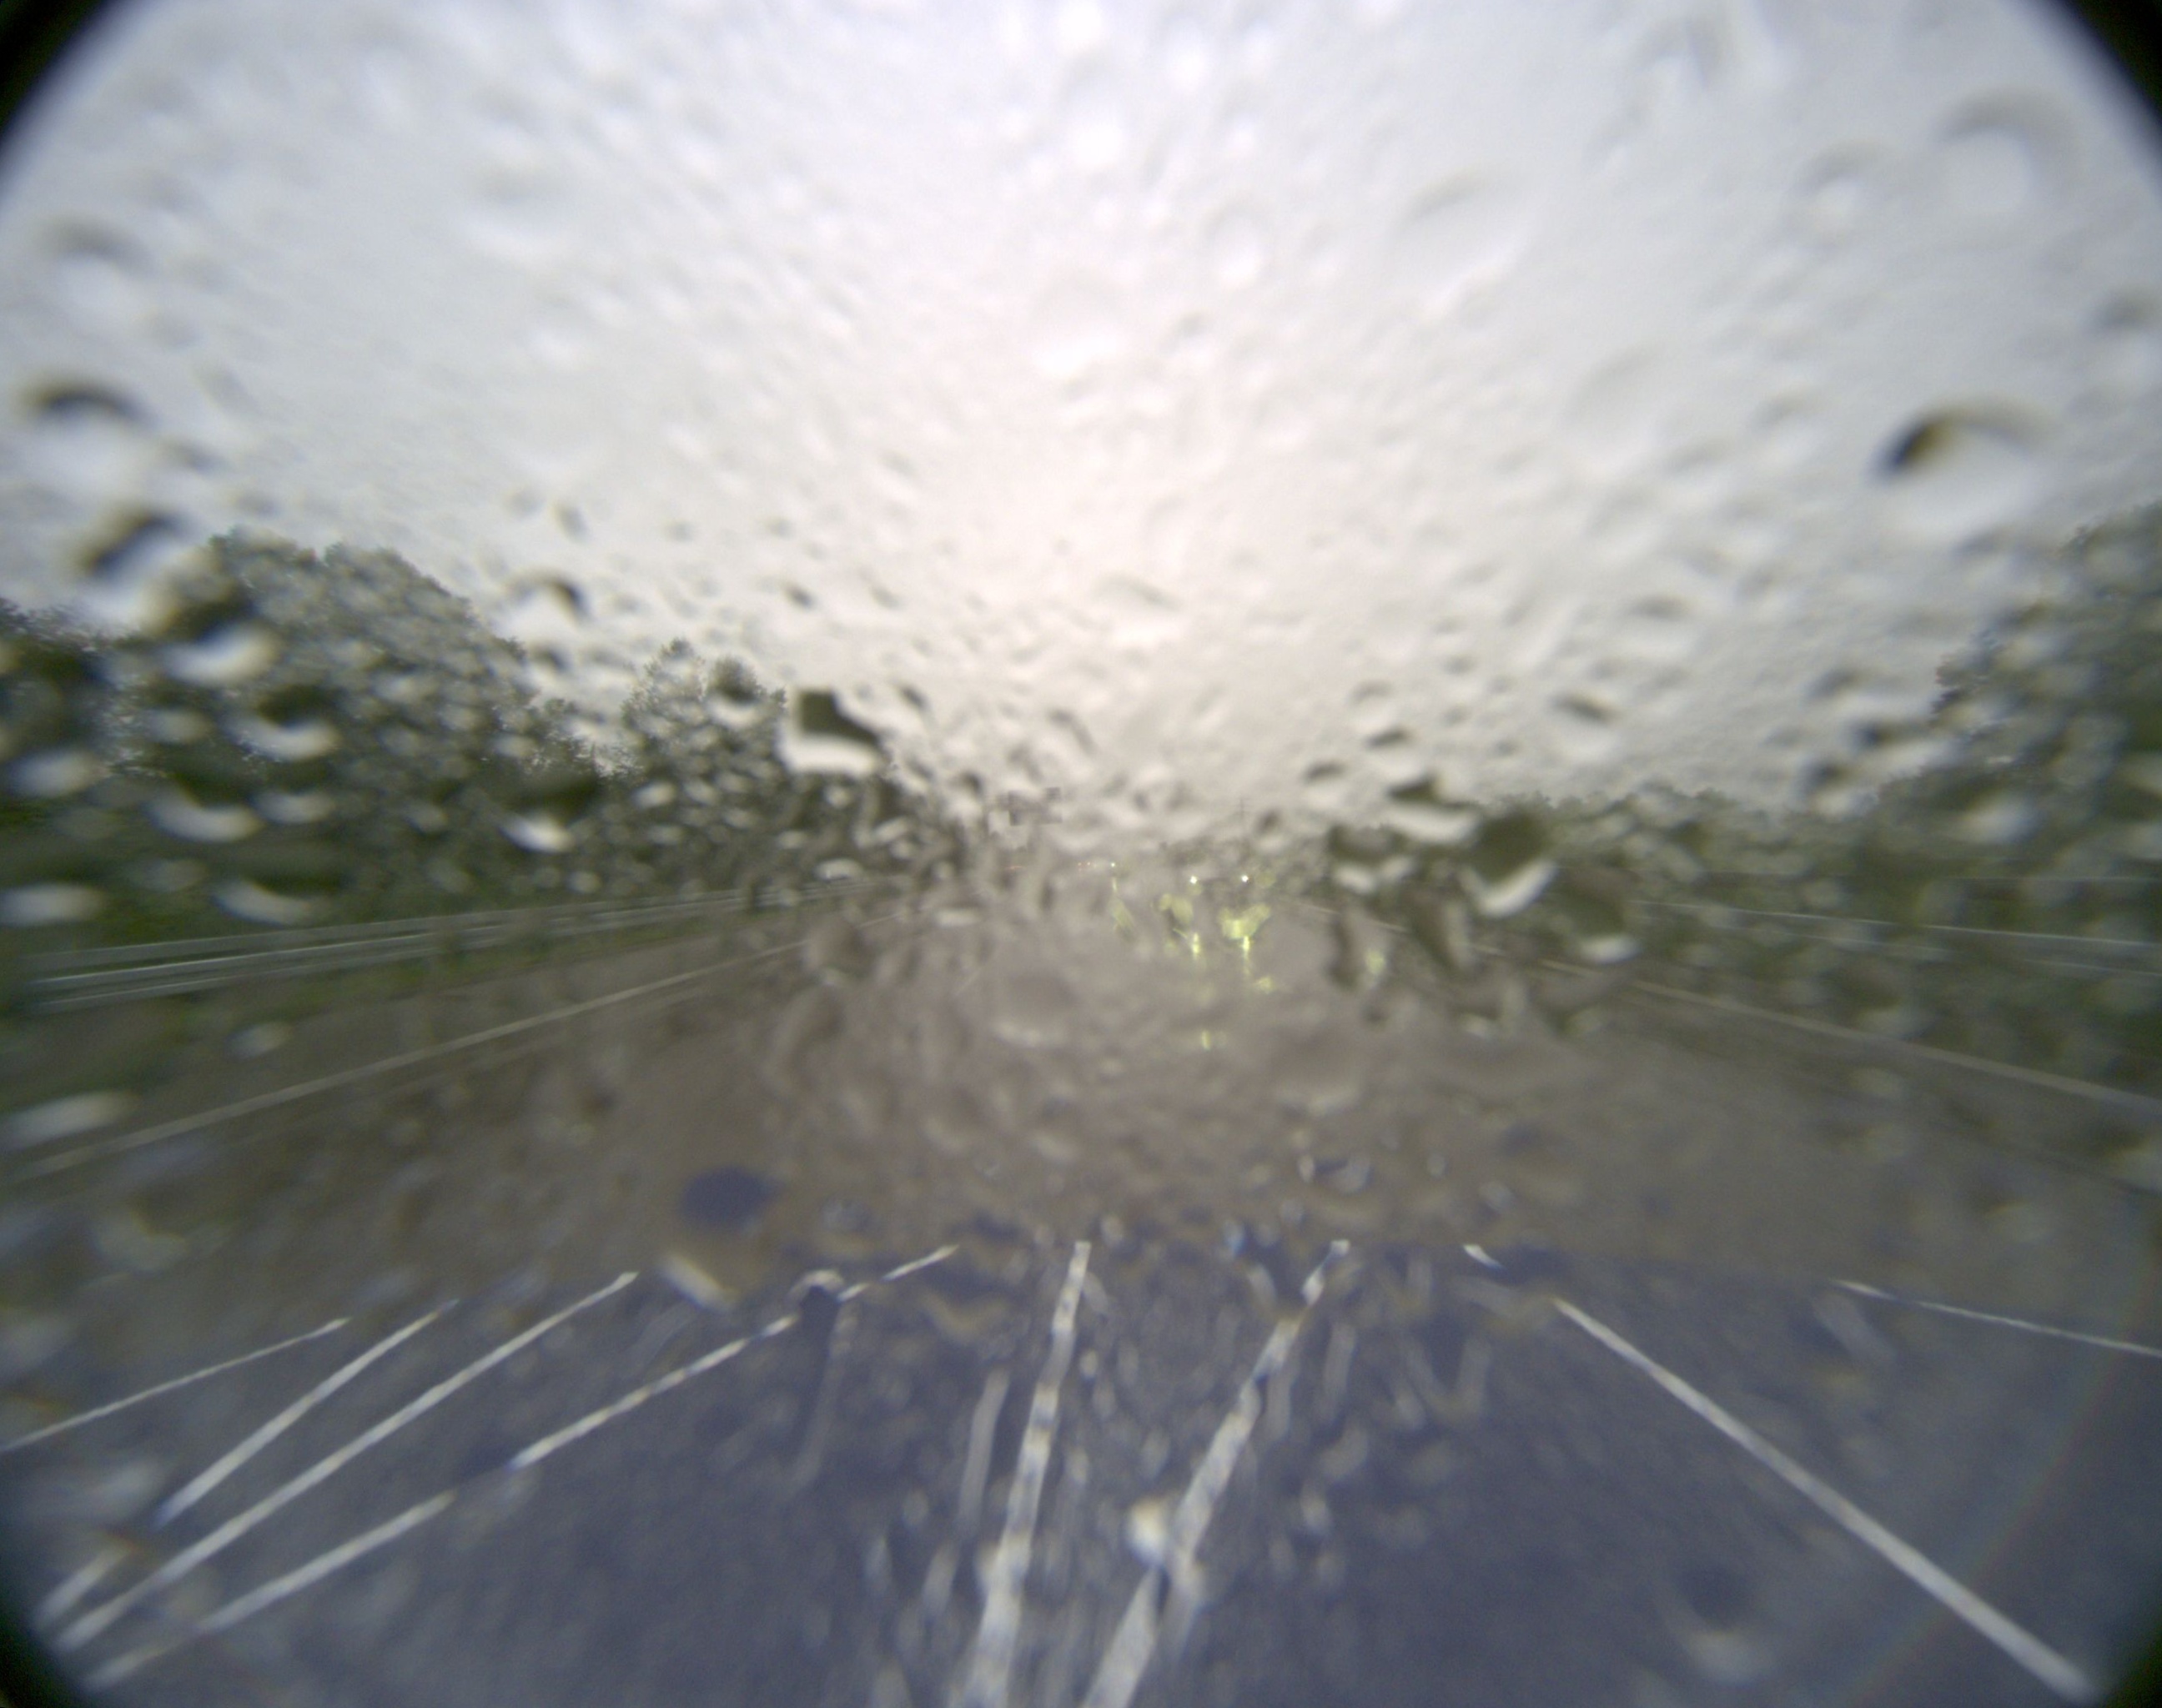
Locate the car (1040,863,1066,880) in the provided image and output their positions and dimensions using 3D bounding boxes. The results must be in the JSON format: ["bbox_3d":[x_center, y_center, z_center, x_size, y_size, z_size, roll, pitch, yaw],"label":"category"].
[{"bbox_3d":[-2.322,1.450,64.364,1.753,1.205,4.001,-5,0,3],"label":"car"}]

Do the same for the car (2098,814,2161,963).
[{"bbox_3d":[13.538,0.380,7.560,1.744,1.753,3.801,-2,0,0],"label":"car"}]

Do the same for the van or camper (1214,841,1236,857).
[{"bbox_3d":[28.807,-0.986,152.688,2.894,3.068,9.516,-3,0,2],"label":"van or camper"}]

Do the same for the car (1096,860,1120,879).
[{"bbox_3d":[2.187,1.194,60.769,1.752,1.406,4.001,-3,0,3],"label":"car"}]

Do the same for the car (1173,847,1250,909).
[{"bbox_3d":[4.020,0.688,24.157,2.046,1.763,4.502,-1,0,5],"label":"car"}]

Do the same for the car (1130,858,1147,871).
[{"bbox_3d":[6.406,1.148,84.785,1.752,1.369,4.001,-2,0,3],"label":"car"}]

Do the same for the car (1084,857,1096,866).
[{"bbox_3d":[1.462,1.218,121.440,1.753,1.205,4.001,-5,0,3],"label":"car"}]
